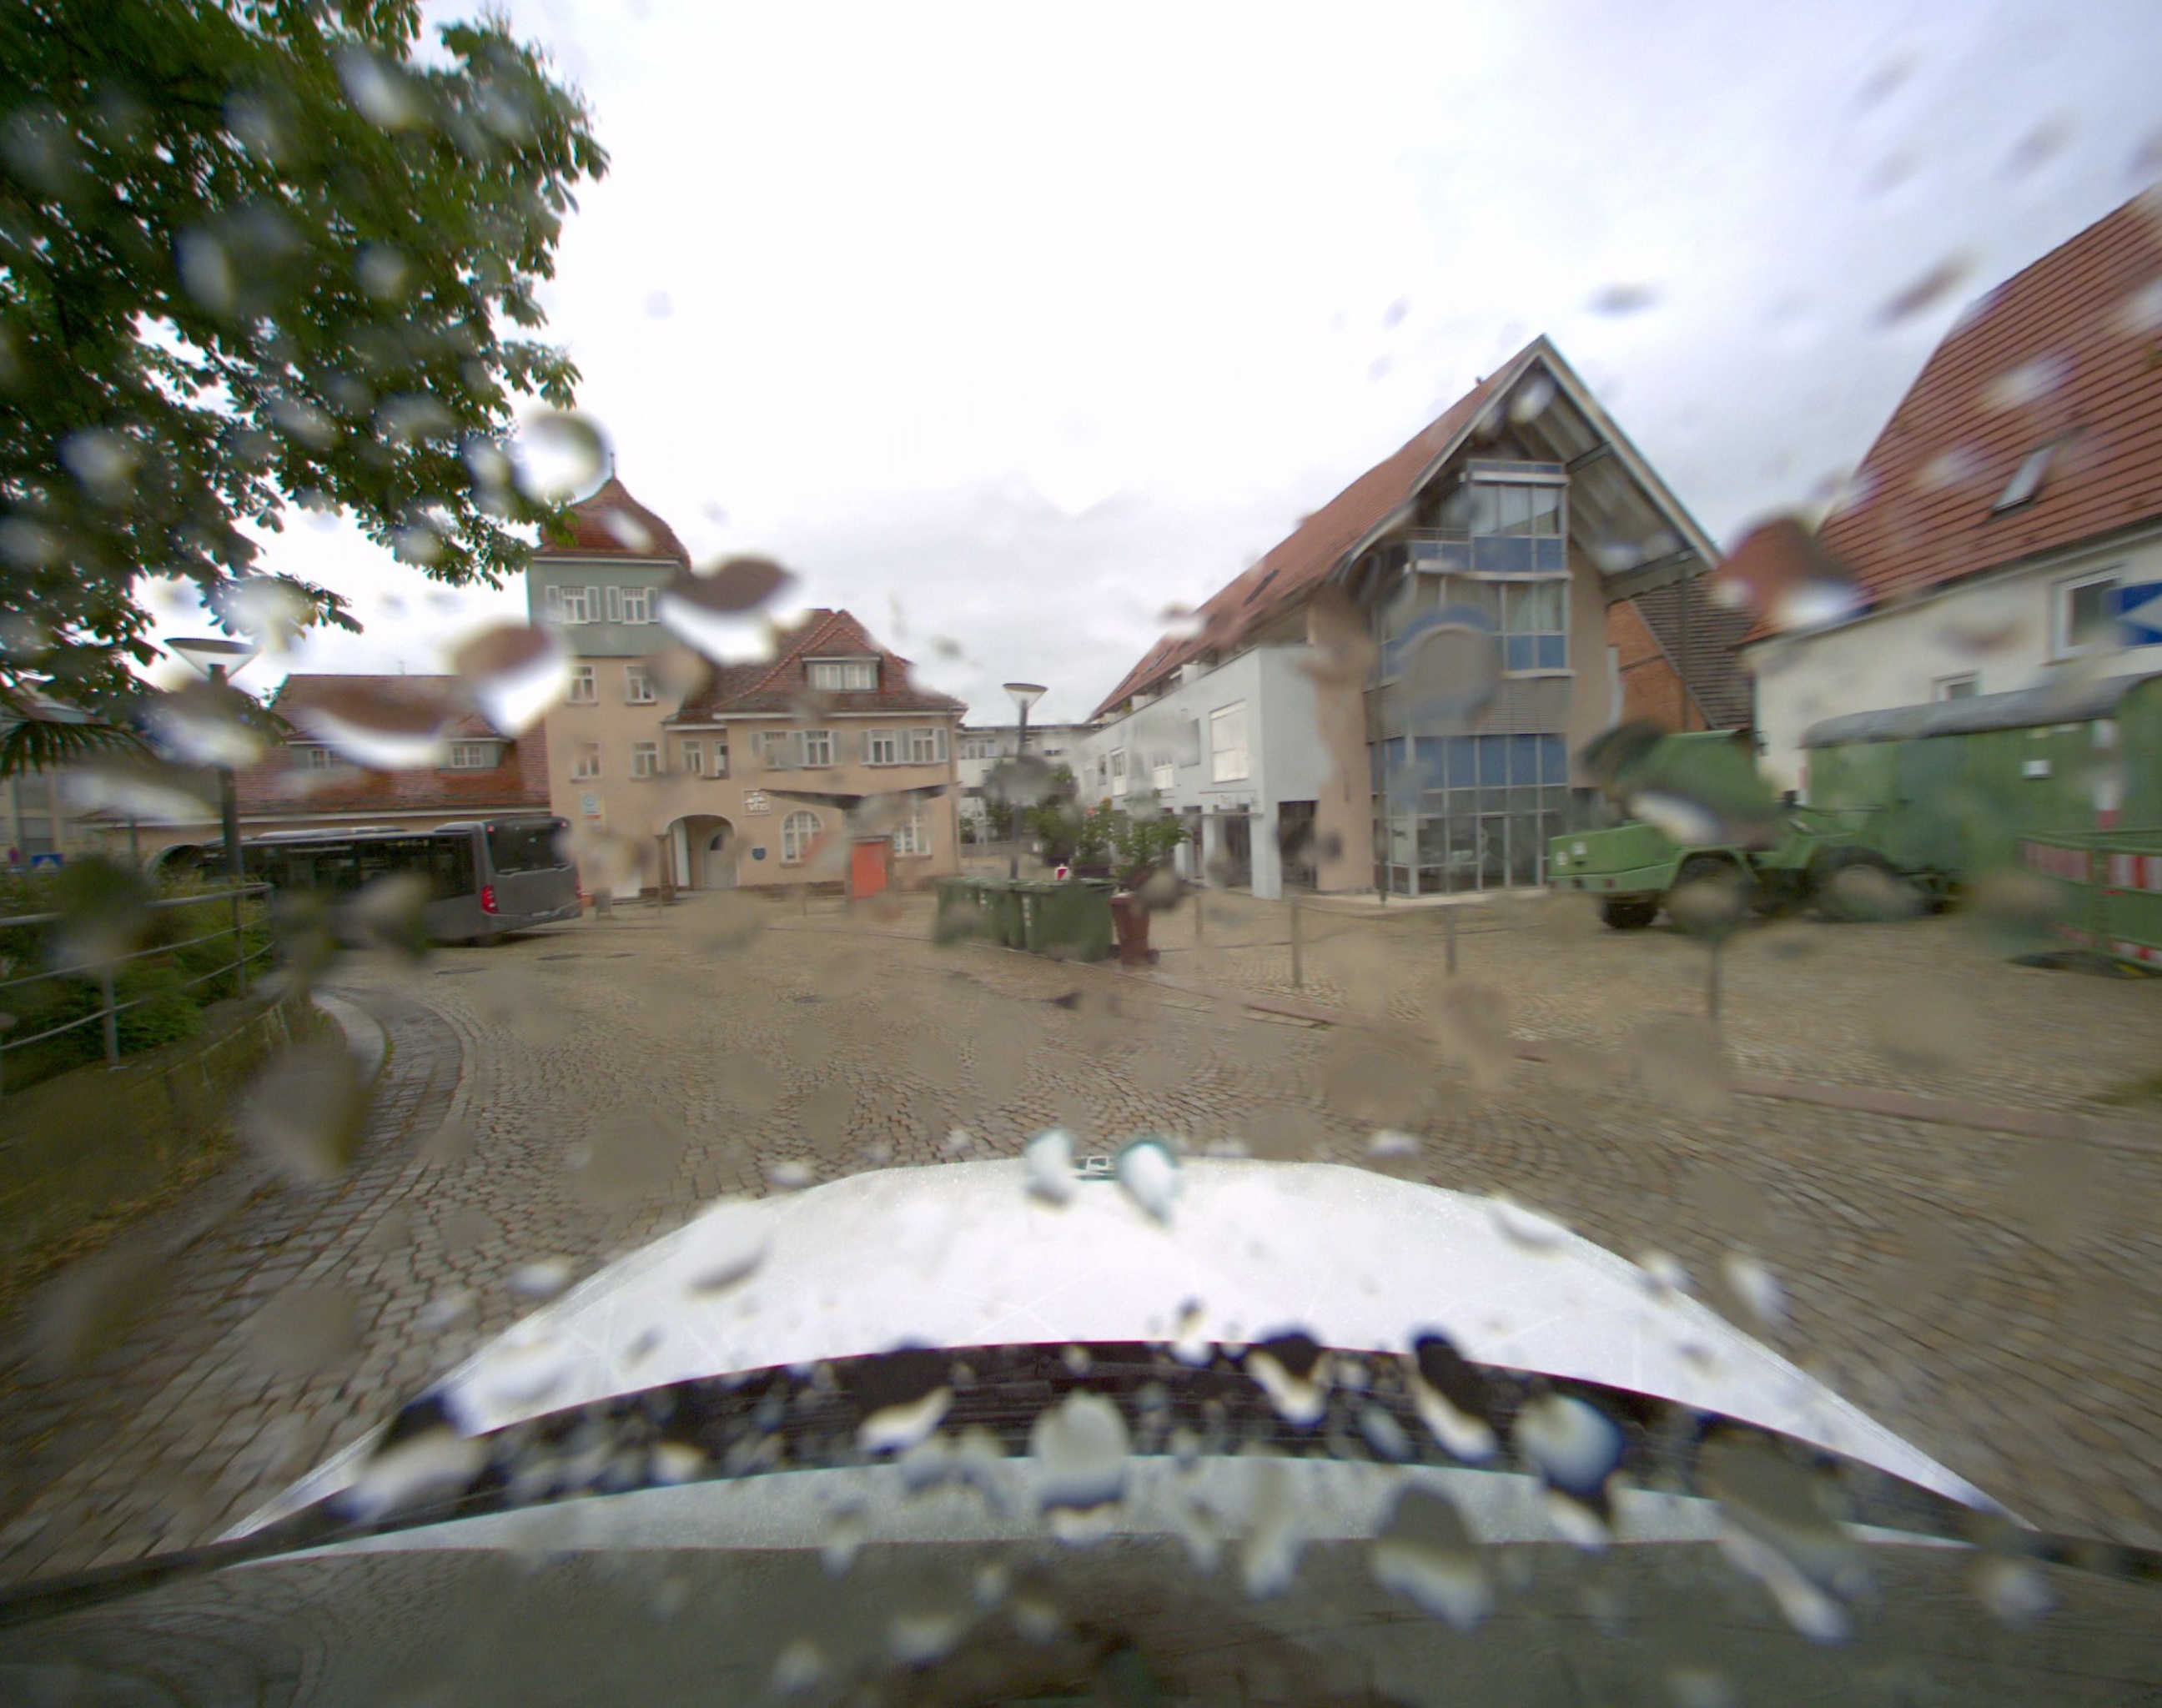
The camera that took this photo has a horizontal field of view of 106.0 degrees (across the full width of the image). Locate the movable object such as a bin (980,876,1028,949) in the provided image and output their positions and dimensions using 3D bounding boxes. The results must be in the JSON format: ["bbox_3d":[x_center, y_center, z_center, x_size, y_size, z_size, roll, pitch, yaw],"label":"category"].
[{"bbox_3d":[-1.282,0.955,13.486,0.563,1.126,0.545,-4,0,-29],"label":"movable object such as a bin"}]

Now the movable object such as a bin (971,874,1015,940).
[{"bbox_3d":[-1.593,0.945,14.683,0.563,1.126,0.545,-4,0,-29],"label":"movable object such as a bin"}]

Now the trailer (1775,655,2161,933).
[{"bbox_3d":[12.069,-0.758,10.556,2.472,2.835,4.642,-1,3,6],"label":"trailer"}]

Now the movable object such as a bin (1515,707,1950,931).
[{"bbox_3d":[8.602,-0.433,11.093,4.260,2.554,1.913,-3,0,2],"label":"movable object such as a bin"}]

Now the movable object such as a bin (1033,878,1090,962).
[{"bbox_3d":[-0.277,0.930,11.668,0.563,1.126,0.545,-4,0,-29],"label":"movable object such as a bin"}]

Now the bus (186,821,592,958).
[{"bbox_3d":[-18.306,0.970,21.489,10.438,2.989,2.802,-3,3,17],"label":"bus"}]

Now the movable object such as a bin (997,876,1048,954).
[{"bbox_3d":[-0.932,0.952,12.875,0.563,1.159,0.545,-4,0,-29],"label":"movable object such as a bin"}]

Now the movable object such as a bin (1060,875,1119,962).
[{"bbox_3d":[0.115,0.865,11.209,0.563,1.126,0.545,-4,0,-29],"label":"movable object such as a bin"}]

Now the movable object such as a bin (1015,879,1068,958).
[{"bbox_3d":[-0.601,0.955,12.328,0.563,1.126,0.536,-4,0,-29],"label":"movable object such as a bin"}]

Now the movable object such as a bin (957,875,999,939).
[{"bbox_3d":[-1.920,0.974,15.148,0.563,1.126,0.545,-4,0,-29],"label":"movable object such as a bin"}]

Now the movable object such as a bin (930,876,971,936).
[{"bbox_3d":[-2.581,1.021,16.140,0.541,1.126,0.533,-4,0,-39],"label":"movable object such as a bin"}]

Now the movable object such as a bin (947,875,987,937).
[{"bbox_3d":[-2.191,0.988,15.667,0.540,1.126,0.534,-4,0,-29],"label":"movable object such as a bin"}]

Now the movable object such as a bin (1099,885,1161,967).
[{"bbox_3d":[0.632,0.913,10.554,0.564,0.991,0.493,-4,0,-38],"label":"movable object such as a bin"}]
